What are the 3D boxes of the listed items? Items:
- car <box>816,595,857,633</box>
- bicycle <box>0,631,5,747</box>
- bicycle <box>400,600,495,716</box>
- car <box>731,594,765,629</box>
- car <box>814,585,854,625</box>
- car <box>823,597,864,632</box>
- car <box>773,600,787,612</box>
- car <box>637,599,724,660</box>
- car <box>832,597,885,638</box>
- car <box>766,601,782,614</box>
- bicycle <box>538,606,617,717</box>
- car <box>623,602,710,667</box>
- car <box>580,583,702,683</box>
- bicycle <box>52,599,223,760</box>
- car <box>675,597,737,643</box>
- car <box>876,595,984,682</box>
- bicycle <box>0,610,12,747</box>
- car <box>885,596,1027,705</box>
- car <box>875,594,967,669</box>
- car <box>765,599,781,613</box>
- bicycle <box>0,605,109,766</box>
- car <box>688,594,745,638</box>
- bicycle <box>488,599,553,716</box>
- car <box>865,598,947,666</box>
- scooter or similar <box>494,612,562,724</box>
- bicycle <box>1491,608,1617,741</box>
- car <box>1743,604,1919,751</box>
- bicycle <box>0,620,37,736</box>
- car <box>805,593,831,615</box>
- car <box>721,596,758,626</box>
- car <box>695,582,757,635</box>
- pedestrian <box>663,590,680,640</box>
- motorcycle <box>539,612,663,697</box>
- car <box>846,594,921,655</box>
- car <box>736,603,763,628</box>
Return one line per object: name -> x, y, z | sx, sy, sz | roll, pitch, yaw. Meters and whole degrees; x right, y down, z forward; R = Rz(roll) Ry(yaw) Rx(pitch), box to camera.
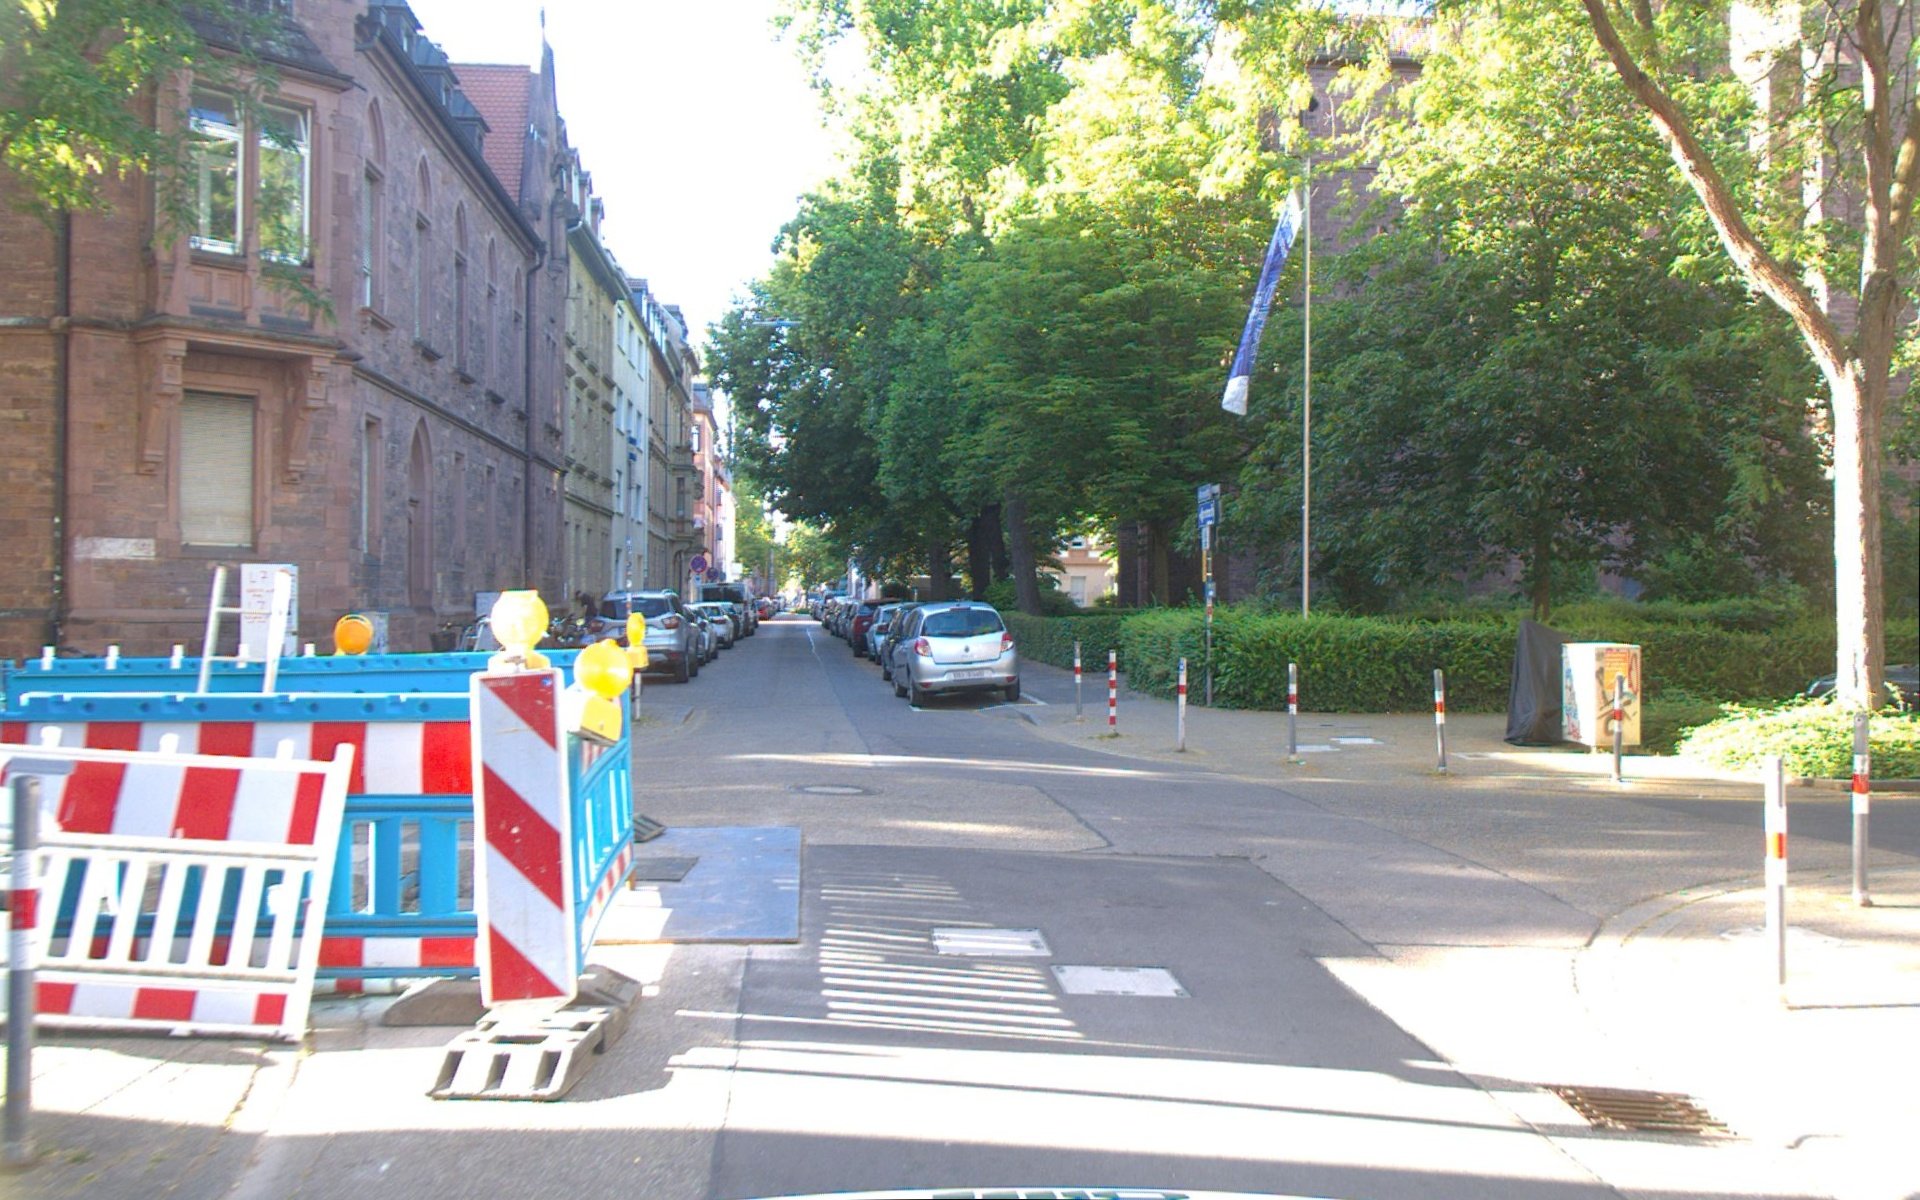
car -> -5.897, 0.646, 78.862 | 1.794, 1.733, 3.994 | 0, 0, -7
bicycle -> -10.951, 0.934, 16.911 | 1.924, 1.200, 0.684 | 0, 1, -5
bicycle -> -6.801, 0.725, 22.097 | 0.669, 1.448, 2.794 | 0, 0, -6
car -> -11.244, 0.588, 87.924 | 1.758, 1.601, 3.995 | 0, 3, -7
car -> -7.428, 0.323, 97.176 | 2.119, 2.295, 4.518 | 0, 0, -7
car -> -5.548, 0.690, 78.511 | 1.758, 1.601, 3.994 | 0, 0, -7
car -> -25.817, 0.913, 237.782 | 1.955, 1.676, 3.995 | 0, 0, -6
car -> -7.127, 0.729, 42.469 | 1.845, 1.435, 3.996 | -1, 0, -5
car -> -4.162, 0.700, 67.190 | 1.955, 1.601, 3.994 | 0, 0, -7
car -> -24.253, 1.033, 215.894 | 1.955, 1.676, 3.995 | 0, 0, -6
bicycle -> -5.067, 0.765, 21.811 | 0.673, 1.368, 2.487 | 0, 0, -21
car -> -6.682, 0.761, 37.981 | 1.692, 1.417, 3.995 | 0, 0, -6
car -> -6.003, 0.596, 31.516 | 1.845, 1.737, 3.996 | -1, 0, -5
bicycle -> -7.628, 0.694, 15.450 | 0.669, 1.344, 2.141 | 0, 1, -5
car -> -7.957, 0.613, 52.110 | 1.737, 1.377, 3.995 | 1, 0, -6
car -> -0.629, 0.702, 31.569 | 1.690, 1.549, 3.994 | 0, 0, -7
bicycle -> -9.690, 0.799, 15.244 | 0.669, 1.344, 2.443 | 0, 1, -5
car -> -0.136, 0.727, 26.065 | 1.691, 1.549, 3.992 | 0, 0, -8
car -> -0.931, 0.679, 37.204 | 1.708, 1.601, 3.994 | 0, 0, -7
car -> -23.419, 0.786, 207.065 | 1.955, 1.676, 3.995 | 0, 0, -6
bicycle -> -8.829, 0.754, 15.444 | 0.669, 1.344, 2.443 | 0, 1, -5
car -> -9.064, 0.603, 61.793 | 1.955, 1.601, 3.994 | 0, 0, -7
bicycle -> -5.802, 0.709, 21.768 | 0.564, 1.448, 2.487 | 0, 0, -21
car -> -1.433, 0.780, 42.365 | 1.806, 1.624, 3.994 | 0, 0, -6
scooter or similar -> -5.184, 0.794, 19.914 | 0.519, 1.299, 1.300 | 0, 0, -2
bicycle -> 6.738, 0.795, 18.697 | 0.762, 1.395, 2.116 | 0, 0, 37
car -> 11.407, 0.840, 17.932 | 1.785, 1.579, 5.031 | 1, -1, -38
bicycle -> -11.024, 0.820, 17.642 | 1.924, 1.200, 0.684 | 0, 1, -5
car -> -11.555, 0.313, 134.440 | 1.955, 1.758, 3.995 | 0, 0, -6
car -> -11.950, 0.606, 89.807 | 1.866, 1.601, 3.994 | 0, 0, -7
car -> -9.761, 0.353, 69.309 | 2.264, 2.151, 5.164 | 0, 0, -5
pedestrian -> -11.755, 0.611, 67.400 | 0.673, 2.049, 0.689 | 0, -1, -13
motorcycle -> -5.479, 0.805, 25.135 | 2.270, 1.228, 0.662 | 0, -1, 43
car -> -2.225, 0.689, 47.133 | 1.858, 1.654, 3.994 | 0, 0, -7
car -> -15.158, 1.104, 119.150 | 1.913, 1.739, 3.993 | 0, 0, -7
